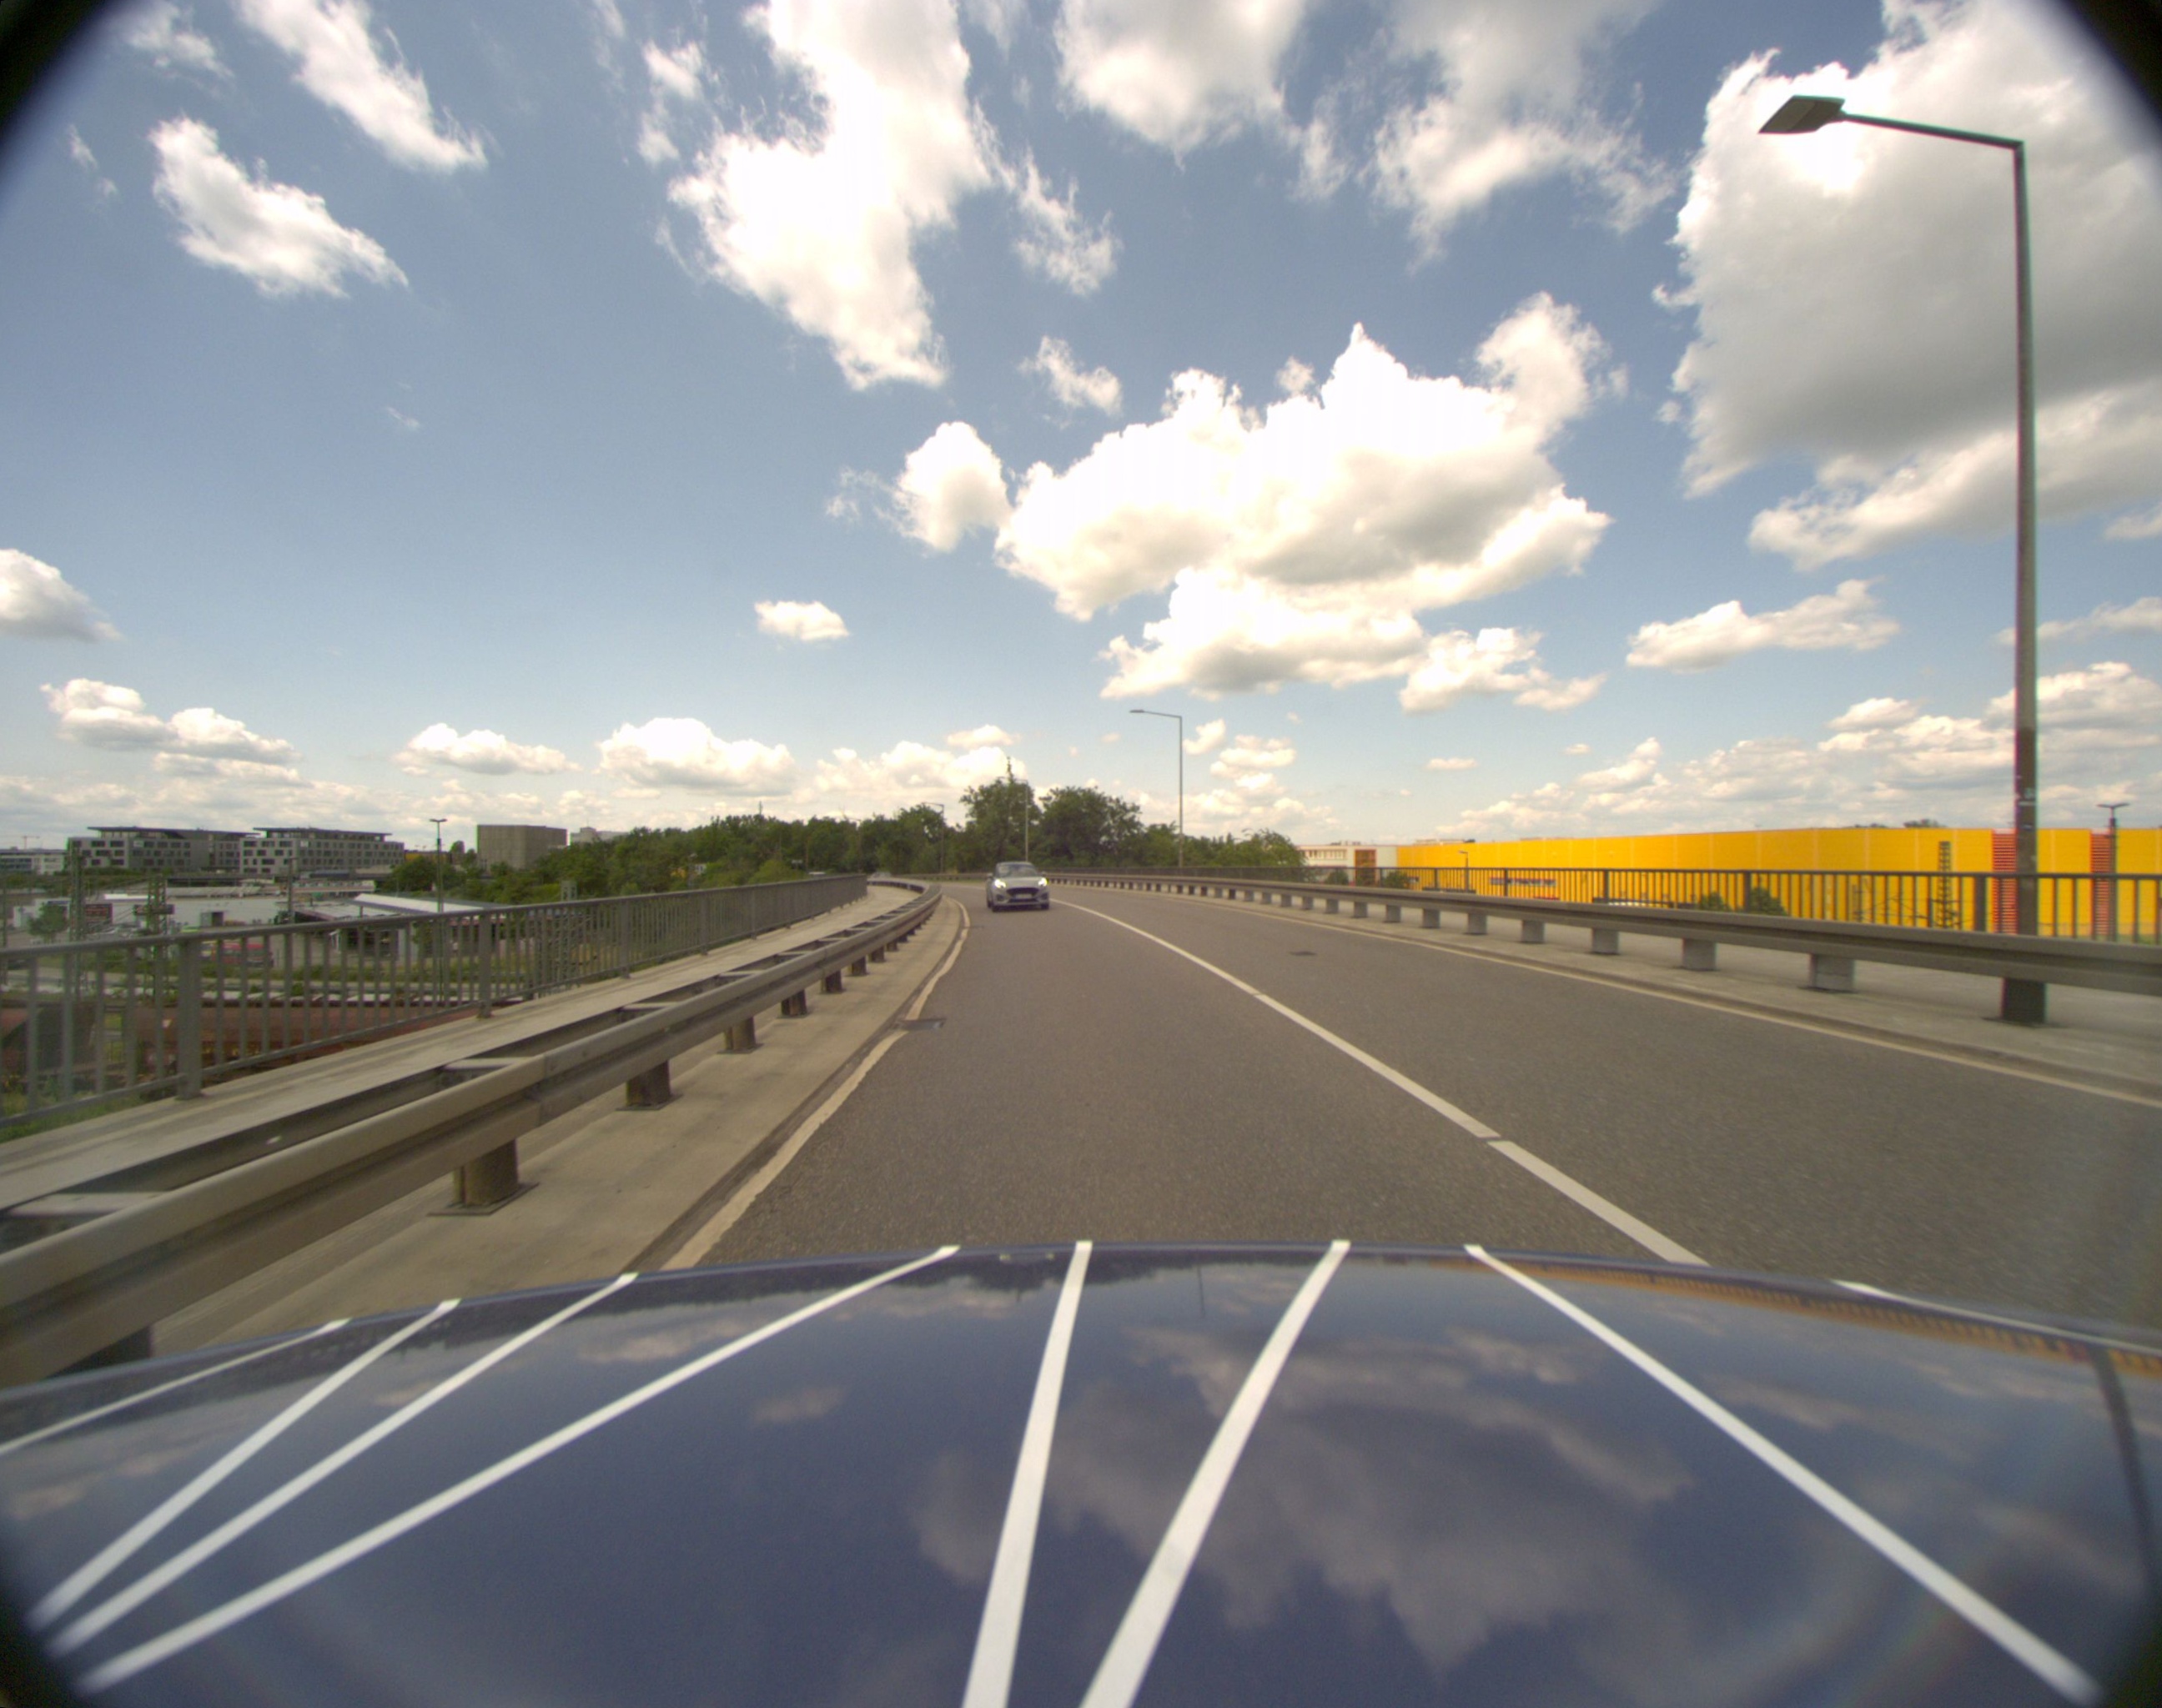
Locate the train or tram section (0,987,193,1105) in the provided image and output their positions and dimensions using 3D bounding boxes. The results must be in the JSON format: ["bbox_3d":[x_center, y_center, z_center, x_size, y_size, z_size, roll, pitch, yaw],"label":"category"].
[{"bbox_3d":[-49.861,8.254,32.595,18.888,4.130,3.218,0,3,-2],"label":"train or tram section"}]

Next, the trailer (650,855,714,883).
[{"bbox_3d":[-68.354,2.579,129.915,14.194,4.255,2.720,-2,1,32],"label":"trailer"}]

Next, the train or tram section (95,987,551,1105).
[{"bbox_3d":[-32.078,8.121,32.593,16.593,4.130,3.139,0,3,2],"label":"train or tram section"}]

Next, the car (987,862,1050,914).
[{"bbox_3d":[-2.152,1.068,25.134,1.829,1.515,3.998,-3,-1,-8],"label":"car"}]
